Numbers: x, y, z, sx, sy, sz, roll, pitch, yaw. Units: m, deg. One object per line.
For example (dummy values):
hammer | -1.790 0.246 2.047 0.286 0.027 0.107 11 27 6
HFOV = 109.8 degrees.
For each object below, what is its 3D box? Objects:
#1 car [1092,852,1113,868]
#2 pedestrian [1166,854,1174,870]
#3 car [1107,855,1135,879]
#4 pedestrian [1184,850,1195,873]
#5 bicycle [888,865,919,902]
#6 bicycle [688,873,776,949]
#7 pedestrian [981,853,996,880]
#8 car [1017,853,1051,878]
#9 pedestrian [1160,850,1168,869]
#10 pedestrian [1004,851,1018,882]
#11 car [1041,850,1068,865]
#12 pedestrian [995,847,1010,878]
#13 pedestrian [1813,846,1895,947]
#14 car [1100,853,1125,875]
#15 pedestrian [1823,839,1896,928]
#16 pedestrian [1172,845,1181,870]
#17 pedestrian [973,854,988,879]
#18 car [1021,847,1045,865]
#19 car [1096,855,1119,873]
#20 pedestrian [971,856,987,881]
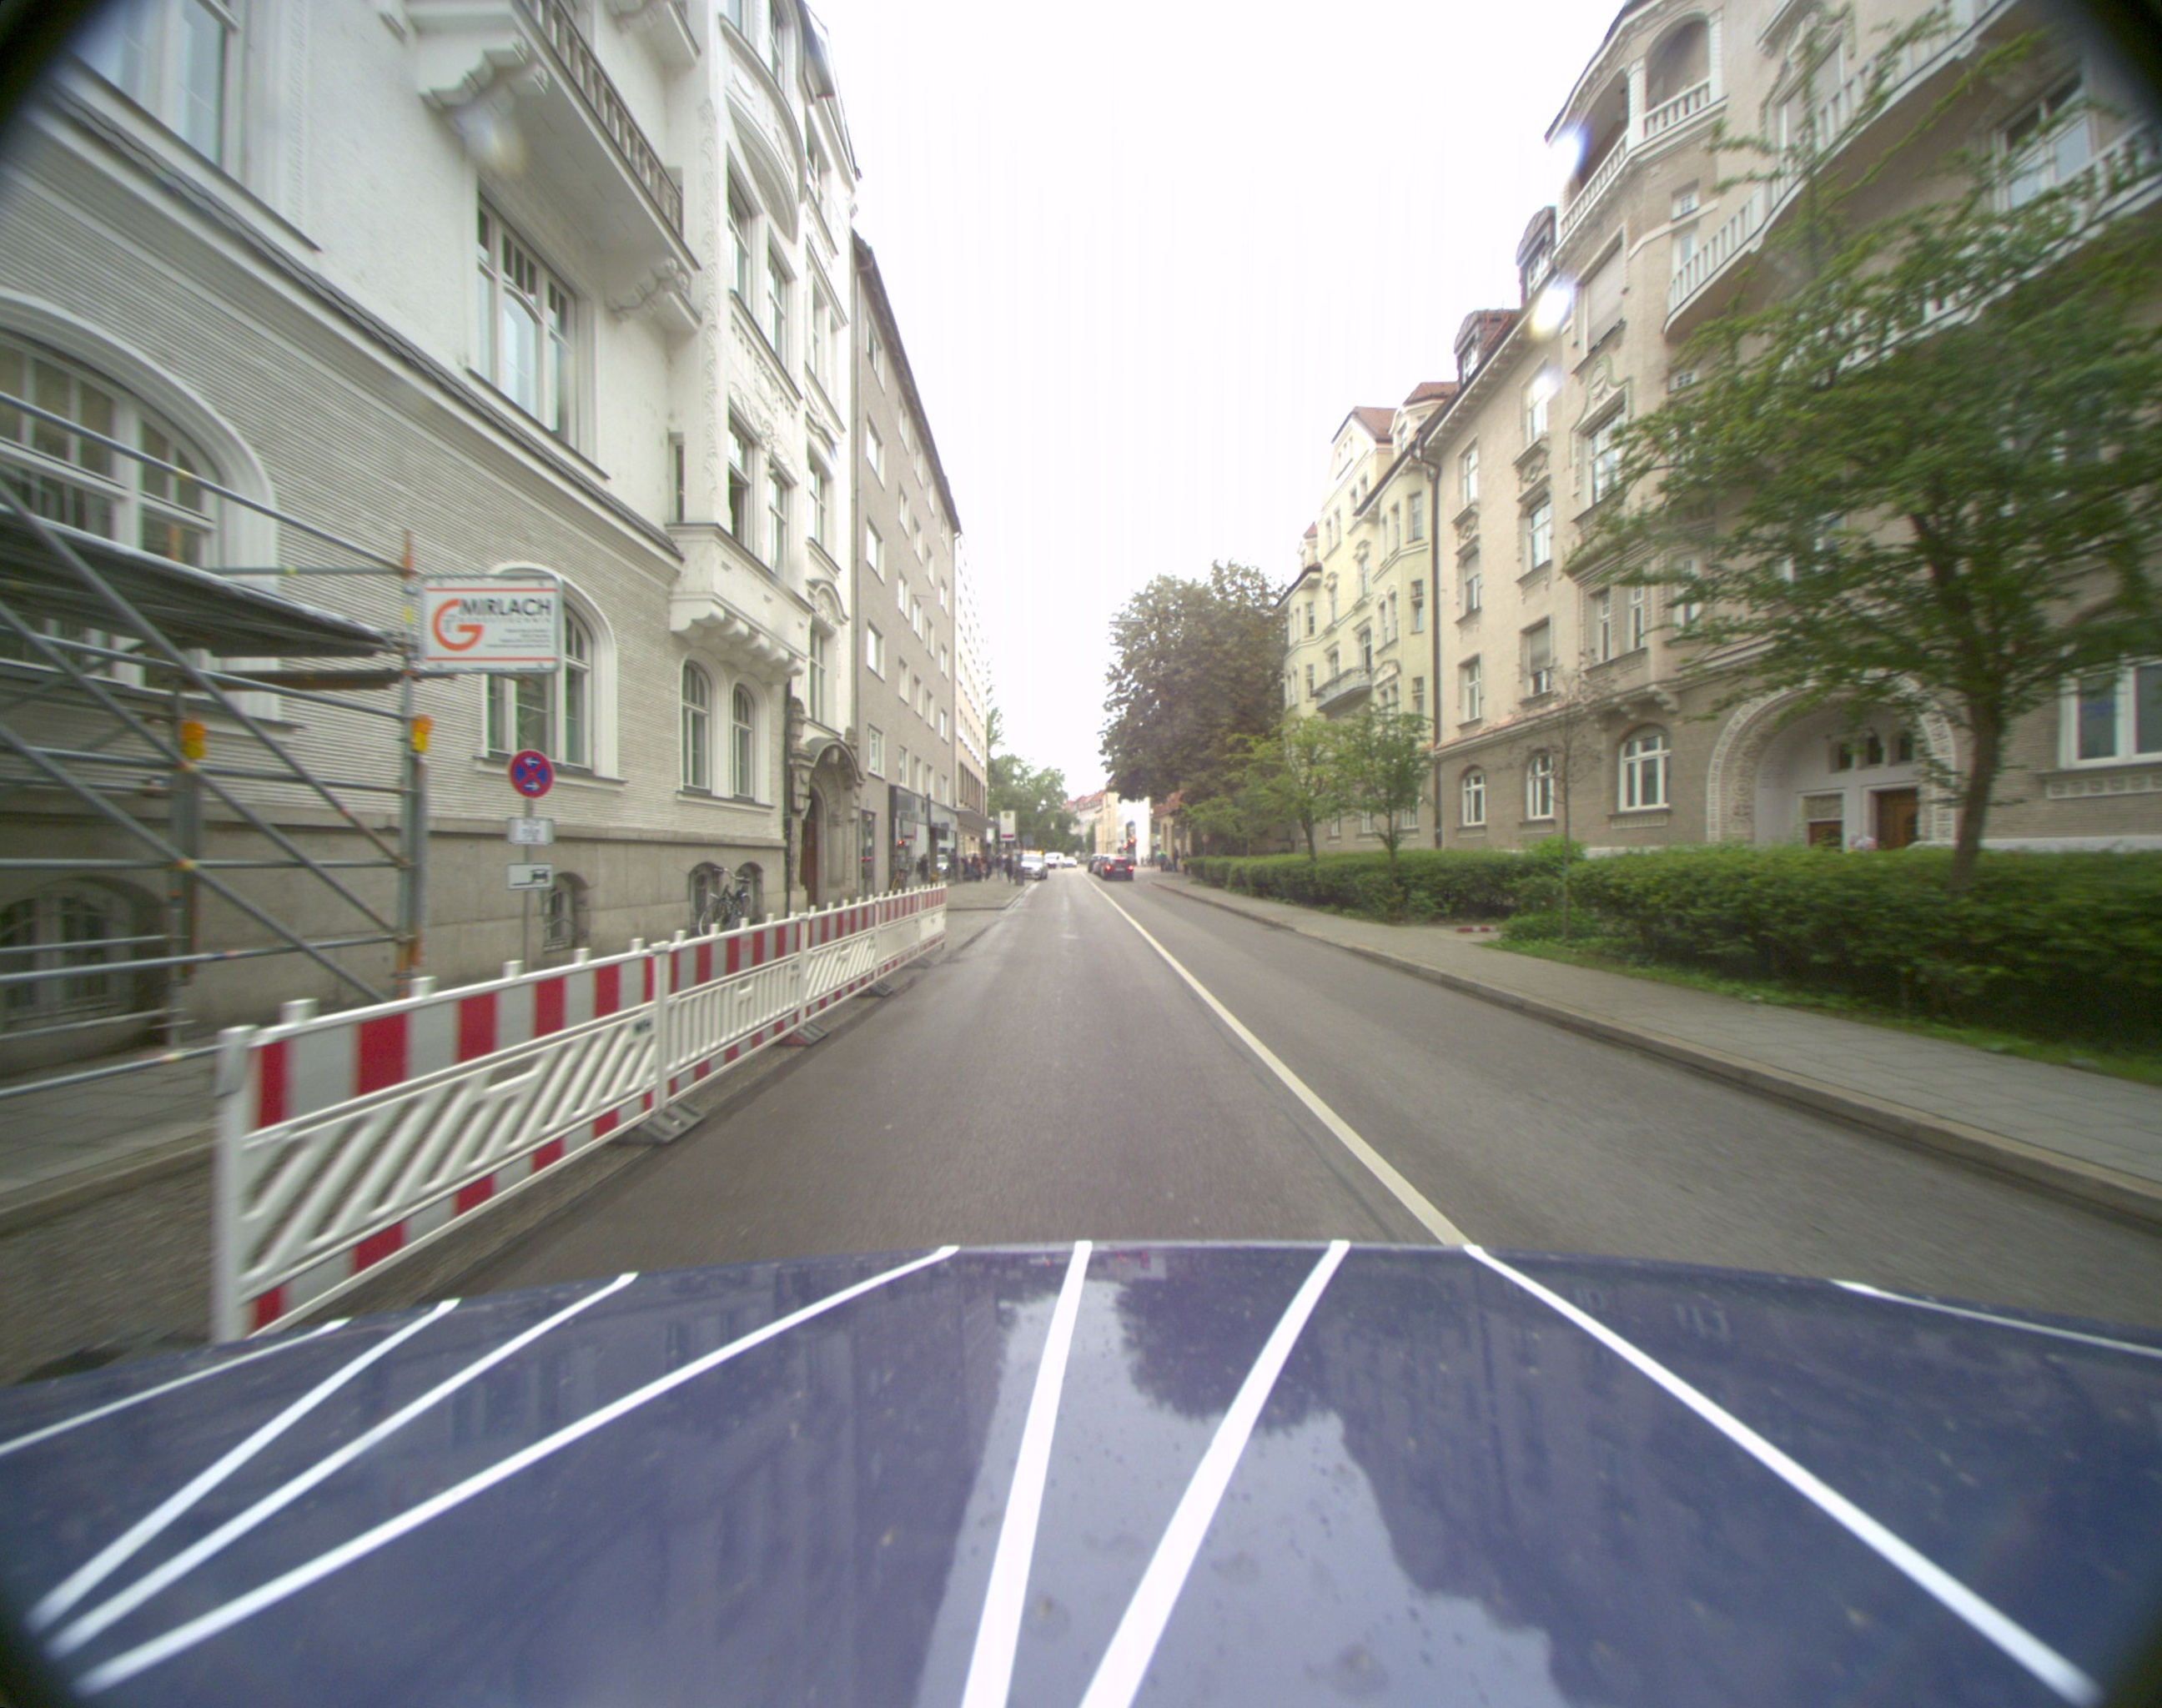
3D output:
car | 1.996 0.565 68.566 1.723 1.398 4.001 0 0 4
pedestrian | 7.258 0.644 61.812 0.546 1.237 0.577 0 1 0
car | 2.564 0.790 48.219 1.723 1.398 4.001 0 0 4
pedestrian | 7.581 0.522 53.176 0.625 1.611 0.662 0 1 0
bicycle | -5.798 0.944 24.895 0.593 1.111 1.845 0 0 0
bicycle | -5.852 0.921 12.839 0.684 1.164 1.653 0 0 1
pedestrian | -5.511 0.745 45.162 0.837 1.580 0.806 0 1 -5
car | -3.081 0.717 50.332 1.723 1.622 4.001 0 0 4
pedestrian | 6.792 0.460 62.221 0.625 1.579 0.662 0 1 0
pedestrian | -3.870 0.666 42.170 0.745 1.706 0.616 0 1 0
car | -3.009 0.412 87.946 1.917 1.648 4.606 0 0 14
pedestrian | -4.818 0.523 46.653 0.826 1.849 0.820 0 1 -2
pedestrian | 12.696 0.674 12.490 0.611 1.602 0.721 0 1 -12
car | 2.322 0.676 55.472 1.723 1.536 4.001 0 0 4
pedestrian | 14.439 0.526 14.107 0.611 1.602 0.721 0 1 -12
pedestrian | 7.408 0.245 58.937 0.625 1.945 0.662 0 1 0
pedestrian | -5.773 0.710 43.623 0.747 1.439 0.571 0 1 0
car | -4.382 0.180 70.498 1.723 1.622 4.001 0 0 4
car | 2.196 0.810 61.548 1.723 1.398 4.001 0 0 4
pedestrian | -5.666 0.797 42.396 0.837 1.399 0.866 0 1 -5
